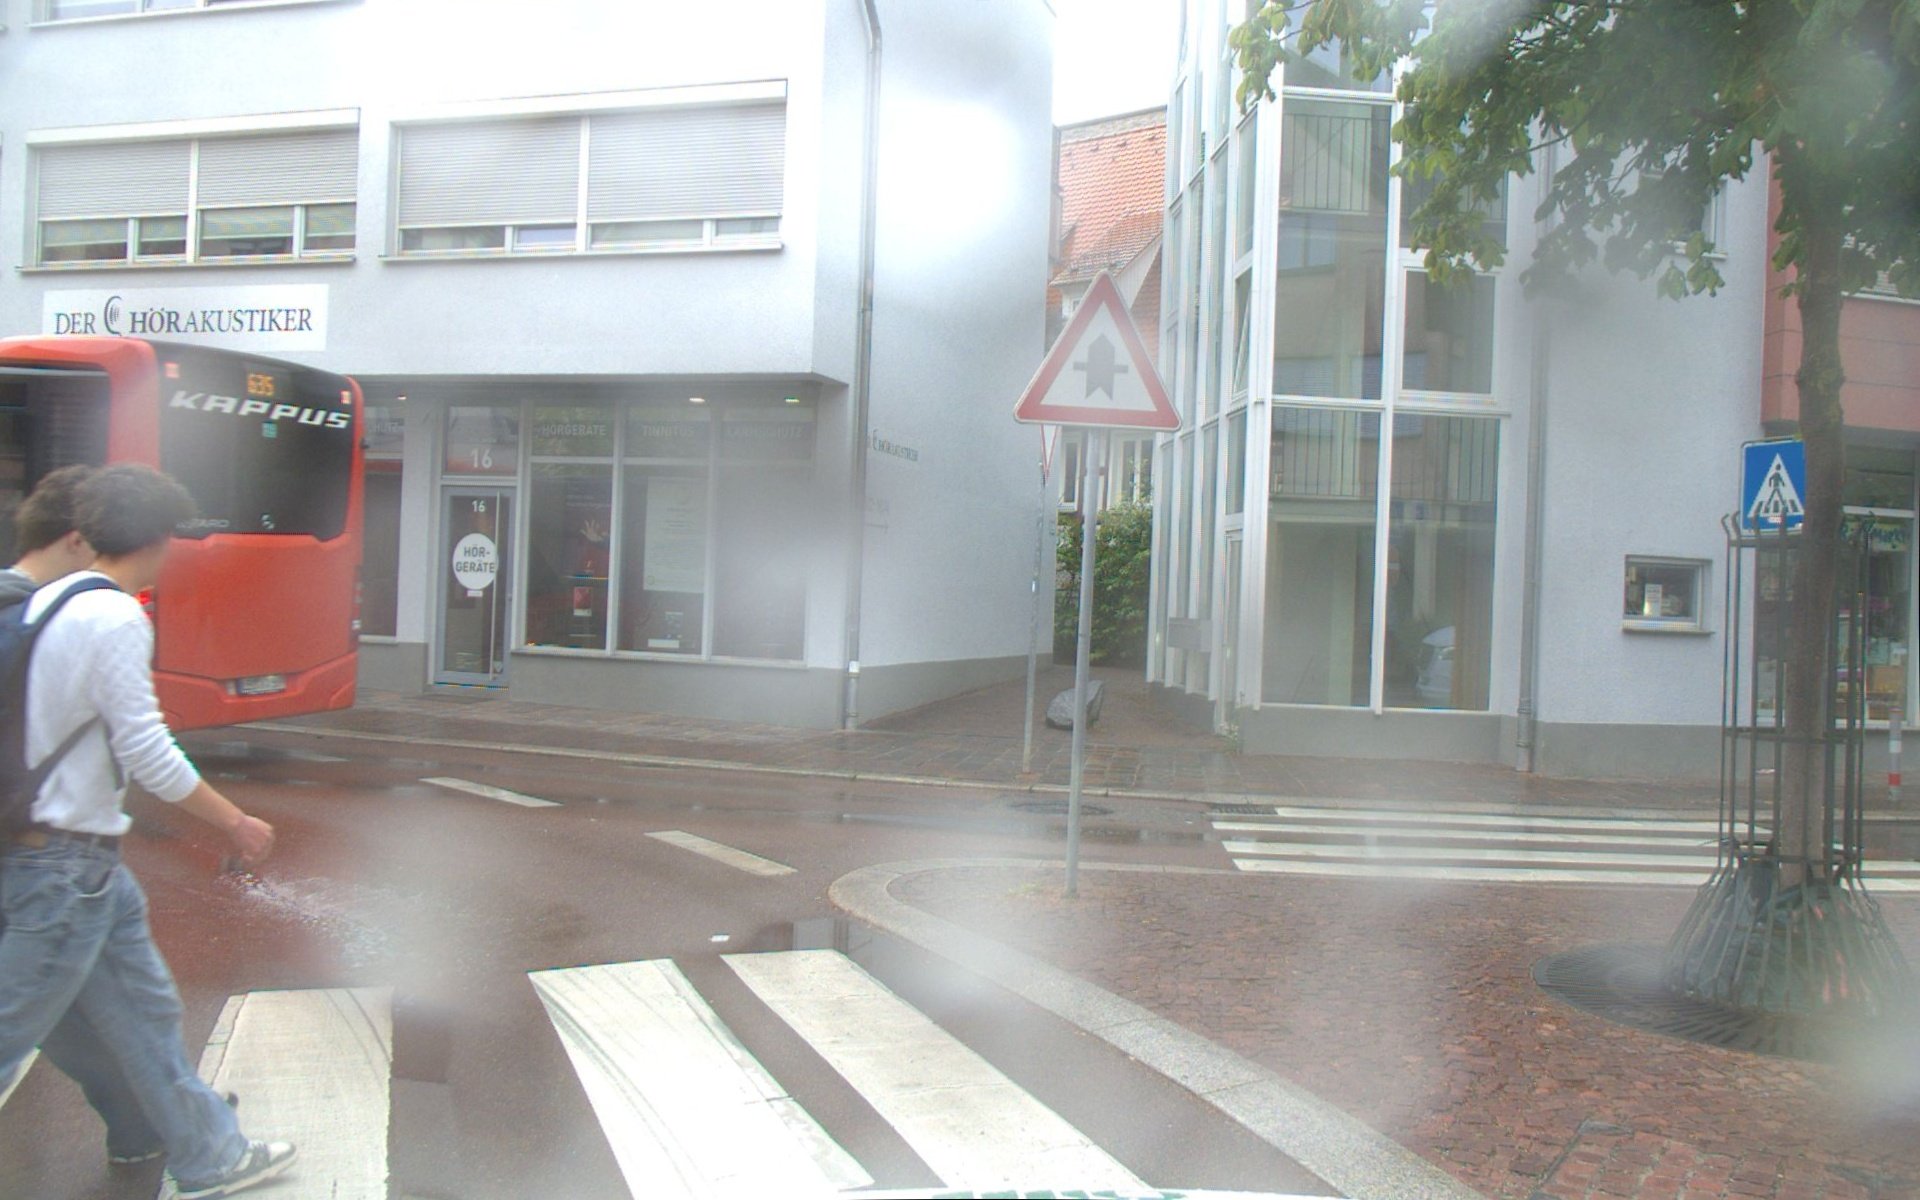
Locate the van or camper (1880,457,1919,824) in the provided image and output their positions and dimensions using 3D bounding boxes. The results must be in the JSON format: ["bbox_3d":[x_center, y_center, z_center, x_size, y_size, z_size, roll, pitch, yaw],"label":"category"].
[{"bbox_3d":[10.288,0.385,12.046,6.623,2.631,2.433,2,-2,-18],"label":"van or camper"}]

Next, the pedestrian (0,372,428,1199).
[{"bbox_3d":[-1.822,0.500,3.578,0.652,1.838,1.057,1,-1,34],"label":"pedestrian"}]

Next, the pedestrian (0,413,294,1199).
[{"bbox_3d":[-2.347,0.488,4.110,0.680,1.832,1.055,1,0,34],"label":"pedestrian"}]

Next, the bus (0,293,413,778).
[{"bbox_3d":[-9.852,-0.685,13.457,10.350,3.142,2.824,3,1,16],"label":"bus"}]
